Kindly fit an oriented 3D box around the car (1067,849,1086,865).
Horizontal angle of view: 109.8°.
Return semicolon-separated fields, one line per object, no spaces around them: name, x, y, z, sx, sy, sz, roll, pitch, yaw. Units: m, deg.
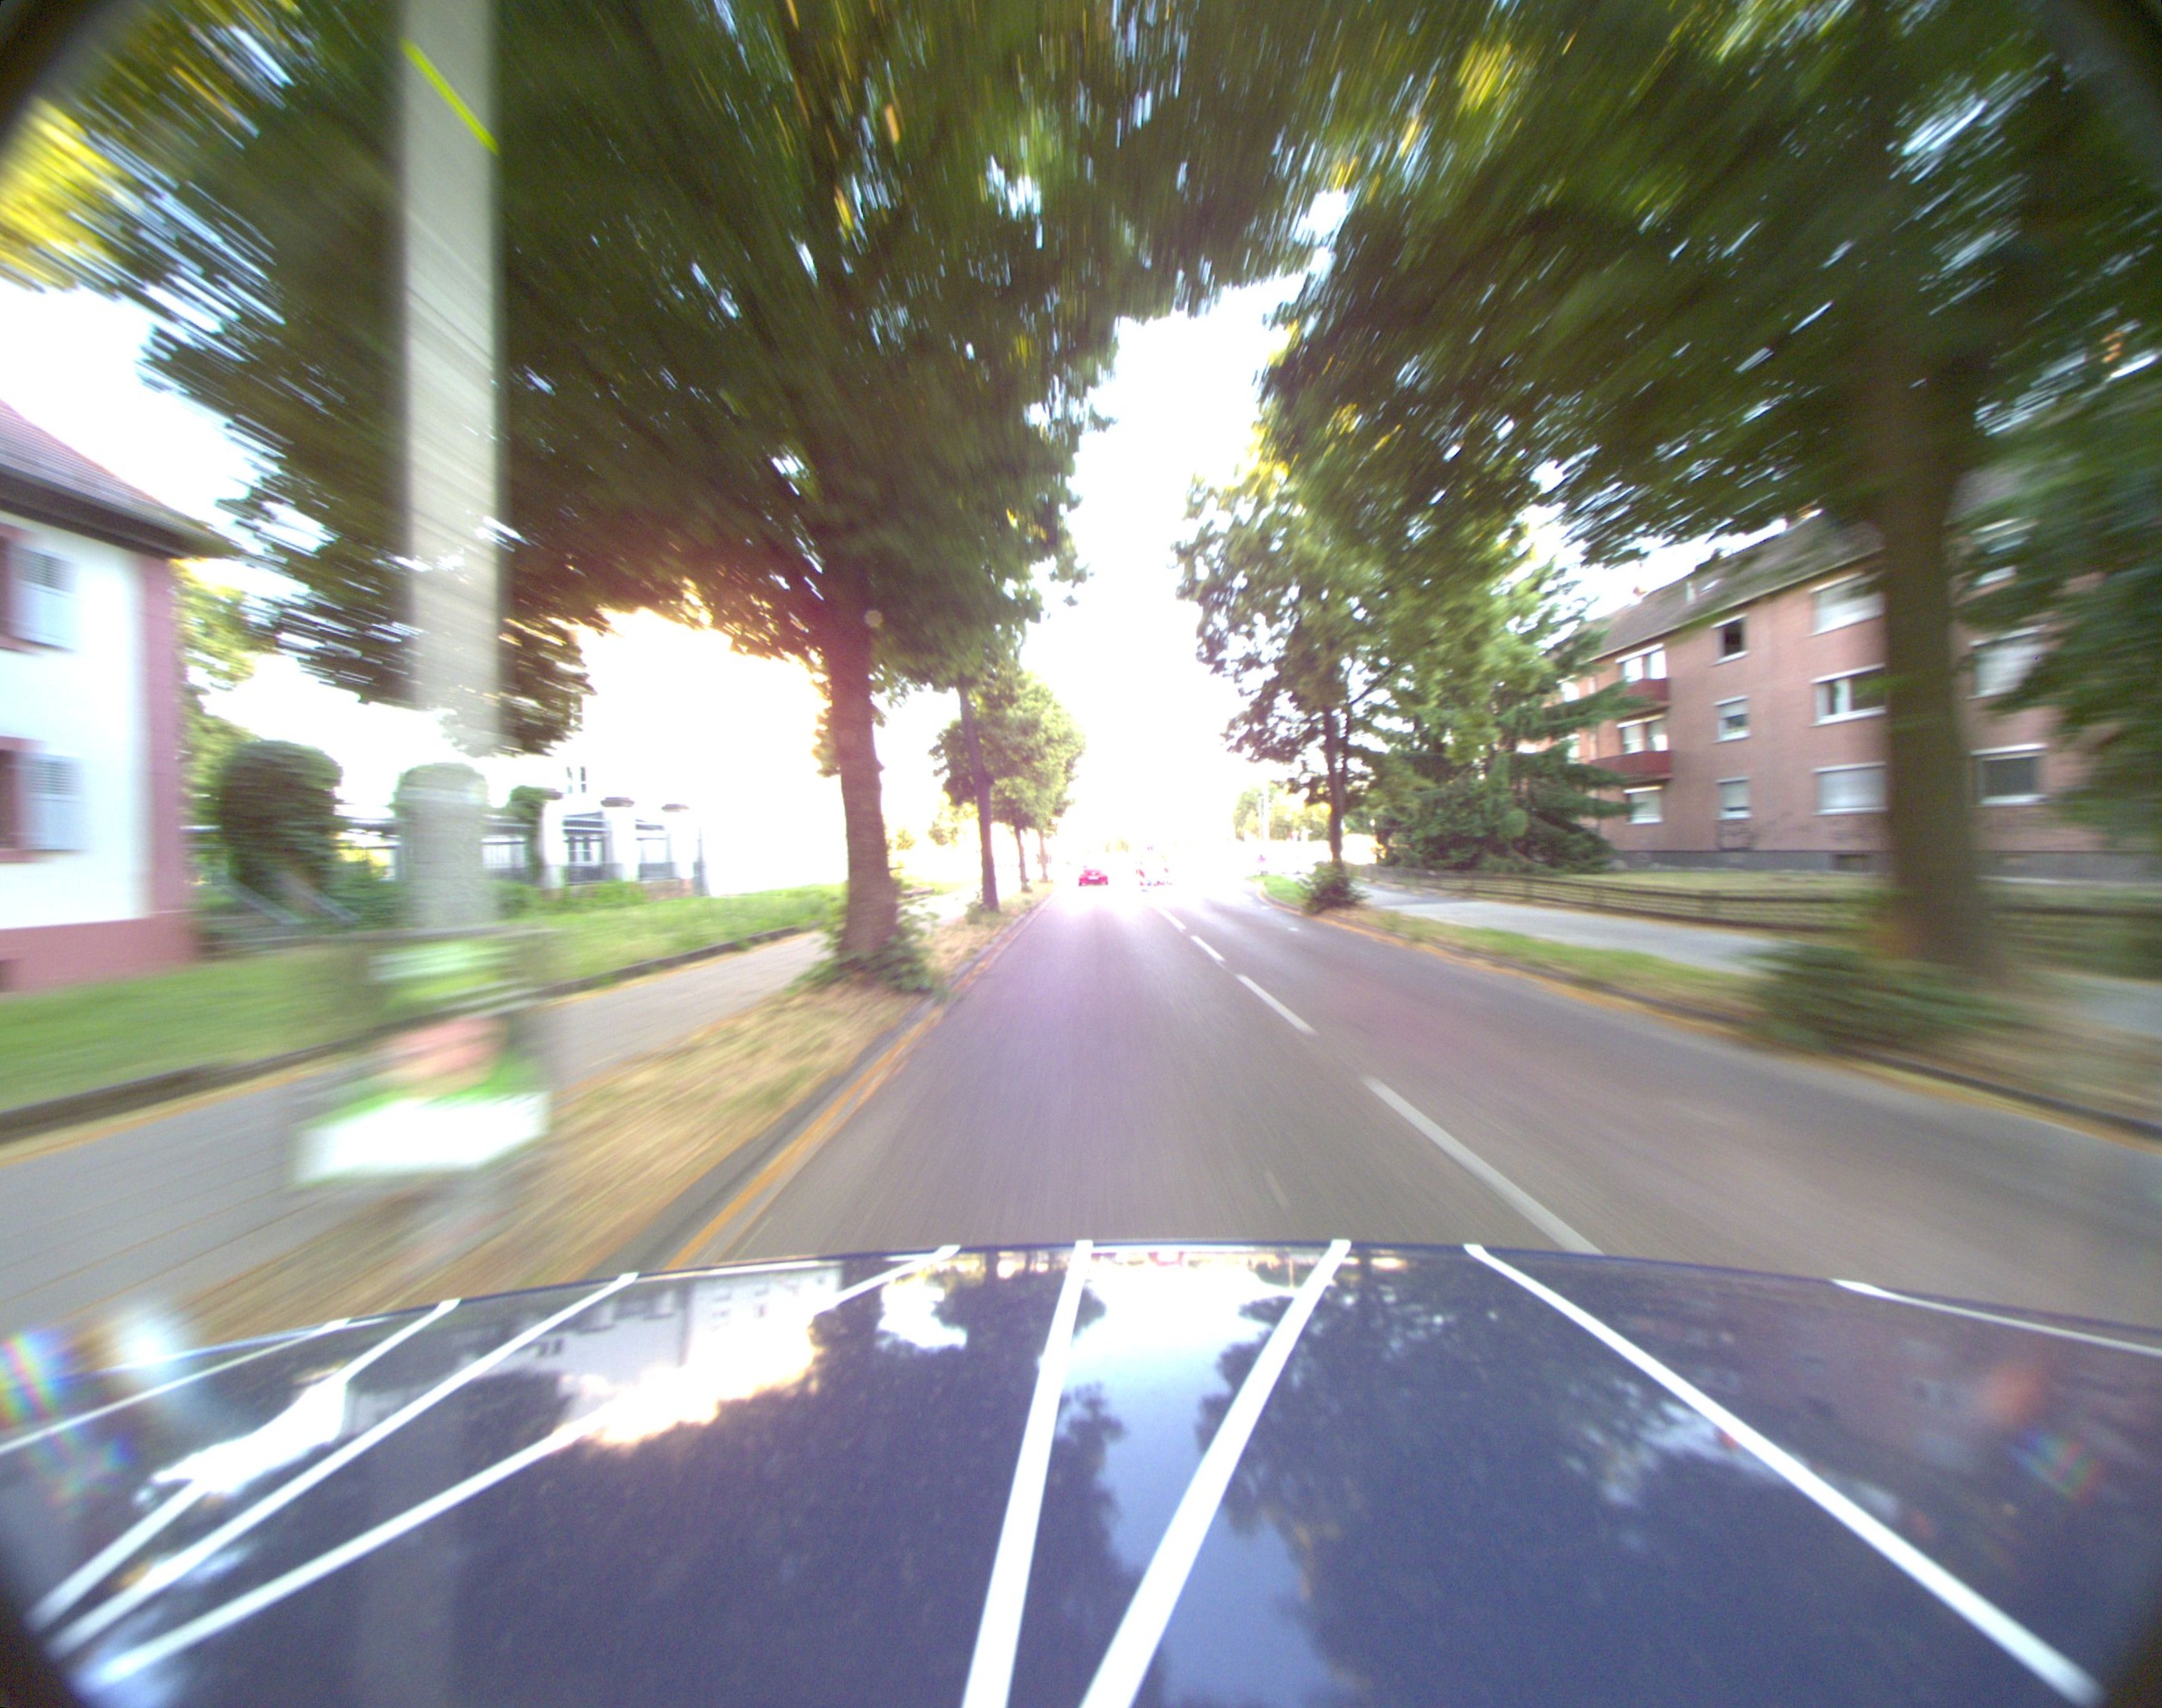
car;-0.460;0.292;80.228;1.790;1.548;4.408;-2;2;0

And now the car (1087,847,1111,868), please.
car;1.565;0.299;63.671;1.789;1.548;4.409;-2;2;3

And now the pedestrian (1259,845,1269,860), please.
pedestrian;21.017;-0.196;87.352;0.927;1.685;0.786;-1;1;-11

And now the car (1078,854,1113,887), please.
car;0.701;0.819;39.656;1.619;1.405;4.409;-2;2;-1
